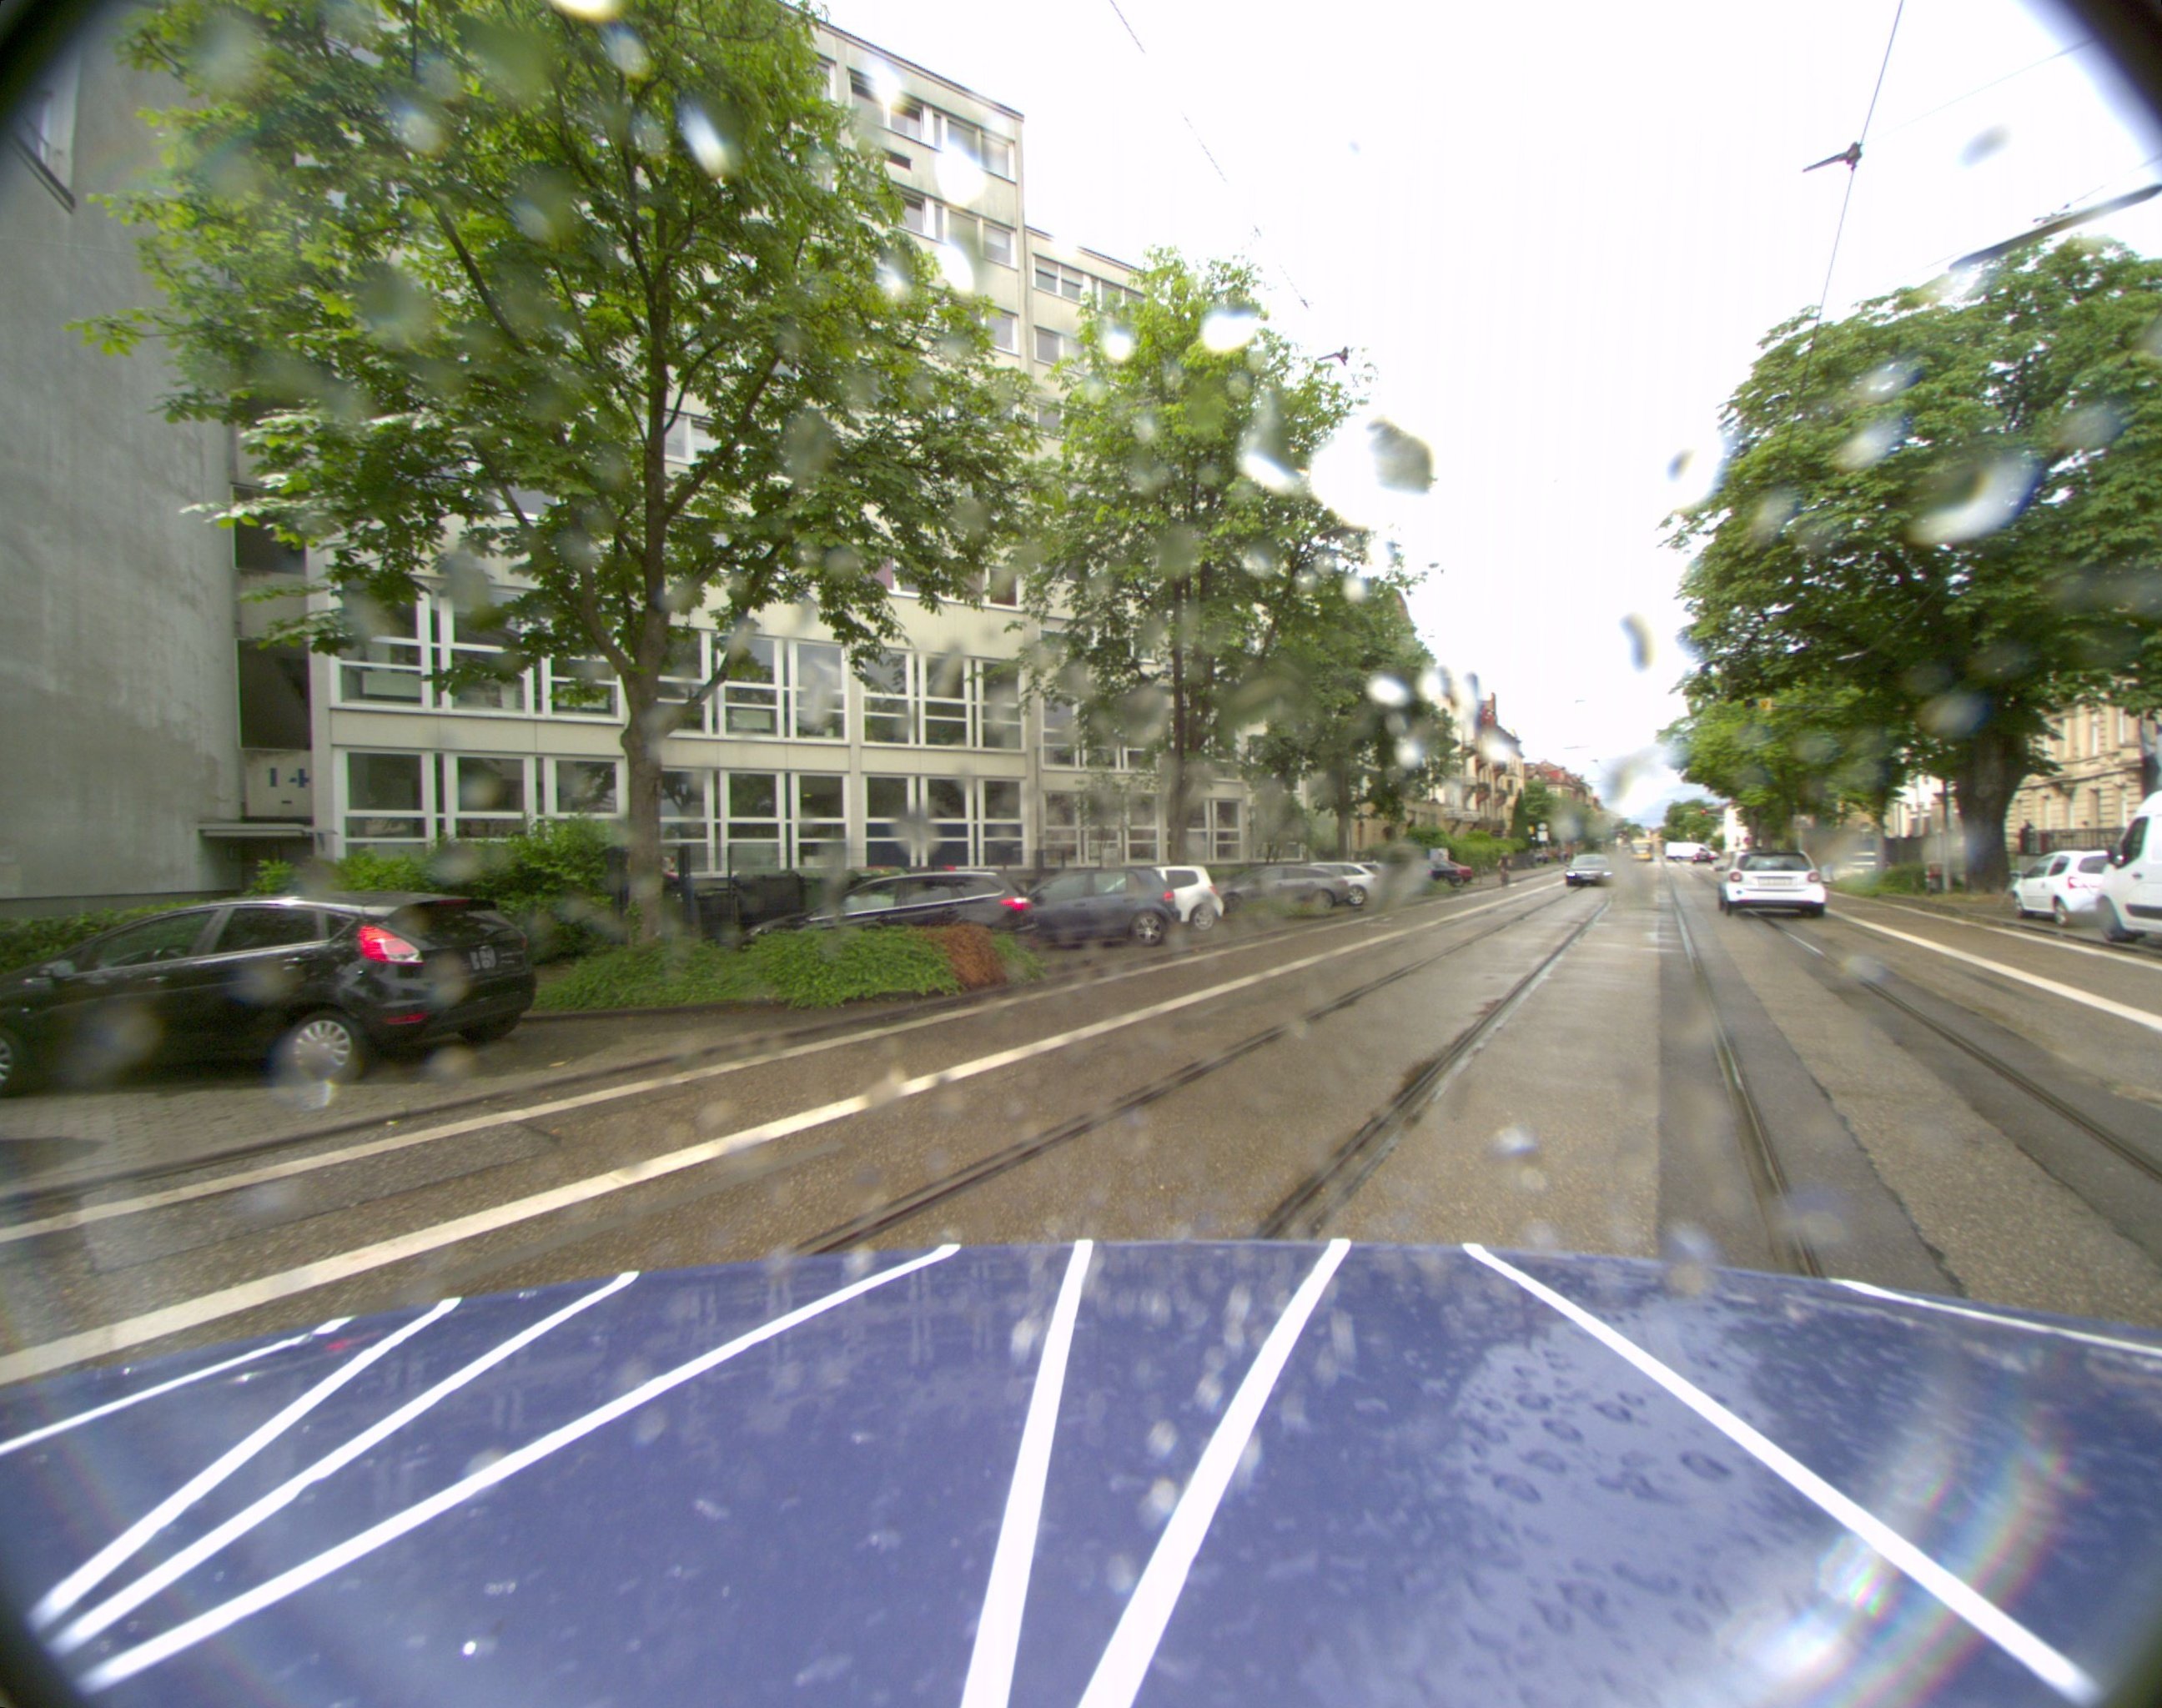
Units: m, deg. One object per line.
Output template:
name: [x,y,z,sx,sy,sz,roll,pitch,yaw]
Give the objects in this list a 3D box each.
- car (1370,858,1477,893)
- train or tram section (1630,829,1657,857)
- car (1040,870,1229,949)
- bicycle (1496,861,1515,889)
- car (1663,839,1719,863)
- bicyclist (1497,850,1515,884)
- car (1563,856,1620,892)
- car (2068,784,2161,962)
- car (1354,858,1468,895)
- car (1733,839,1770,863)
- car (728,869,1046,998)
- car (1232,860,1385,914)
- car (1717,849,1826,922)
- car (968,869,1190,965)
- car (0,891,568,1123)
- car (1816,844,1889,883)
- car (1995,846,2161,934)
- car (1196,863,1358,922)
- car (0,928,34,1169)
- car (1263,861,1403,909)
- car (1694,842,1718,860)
car: [17.077,1.051,38.073,4.437,1.444,1.906,-3,0,1]
train or tram section: [83.242,-1.630,112.388,3.015,3.850,9.592,-3,0,37]
car: [1.131,1.190,17.059,3.881,1.445,1.777,-3,-1,-8]
bicycle: [20.569,0.991,36.796,0.644,1.258,1.872,-3,0,32]
car: [81.749,-0.430,101.884,5.708,2.814,2.760,-3,0,39]
bicyclist: [20.518,0.621,36.658,0.644,1.608,0.675,-3,0,32]
car: [24.041,0.893,35.683,1.995,1.472,4.773,-3,-1,36]
car: [16.084,0.218,10.149,2.135,2.494,5.284,-4,-2,37]
car: [15.342,1.029,35.506,4.437,1.444,1.906,-3,0,1]
car: [55.802,-0.262,63.309,1.862,1.742,4.126,-3,0,36]
car: [-2.850,1.142,11.823,4.370,1.545,1.877,-3,-1,-9]
car: [7.414,1.061,24.991,4.394,1.444,1.884,-3,0,-7]
car: [16.094,0.712,17.829,1.611,1.506,2.612,-3,0,38]
car: [-0.115,1.116,14.298,3.881,1.445,1.822,-3,-1,-8]
car: [-6.929,1.168,6.358,3.976,1.472,1.816,-2,0,-1]
car: [33.221,0.389,32.803,1.790,1.488,4.038,-3,0,40]
car: [20.120,0.665,15.046,1.909,1.541,3.378,-3,-2,39]
car: [5.747,1.100,22.550,4.206,1.444,1.813,-3,0,-7]
car: [-8.201,1.214,3.766,3.406,1.443,1.710,-1,0,-4]
car: [9.086,1.089,27.572,4.371,1.444,1.905,-3,0,-7]
car: [71.521,-0.387,86.899,1.842,1.875,3.932,-3,0,42]
